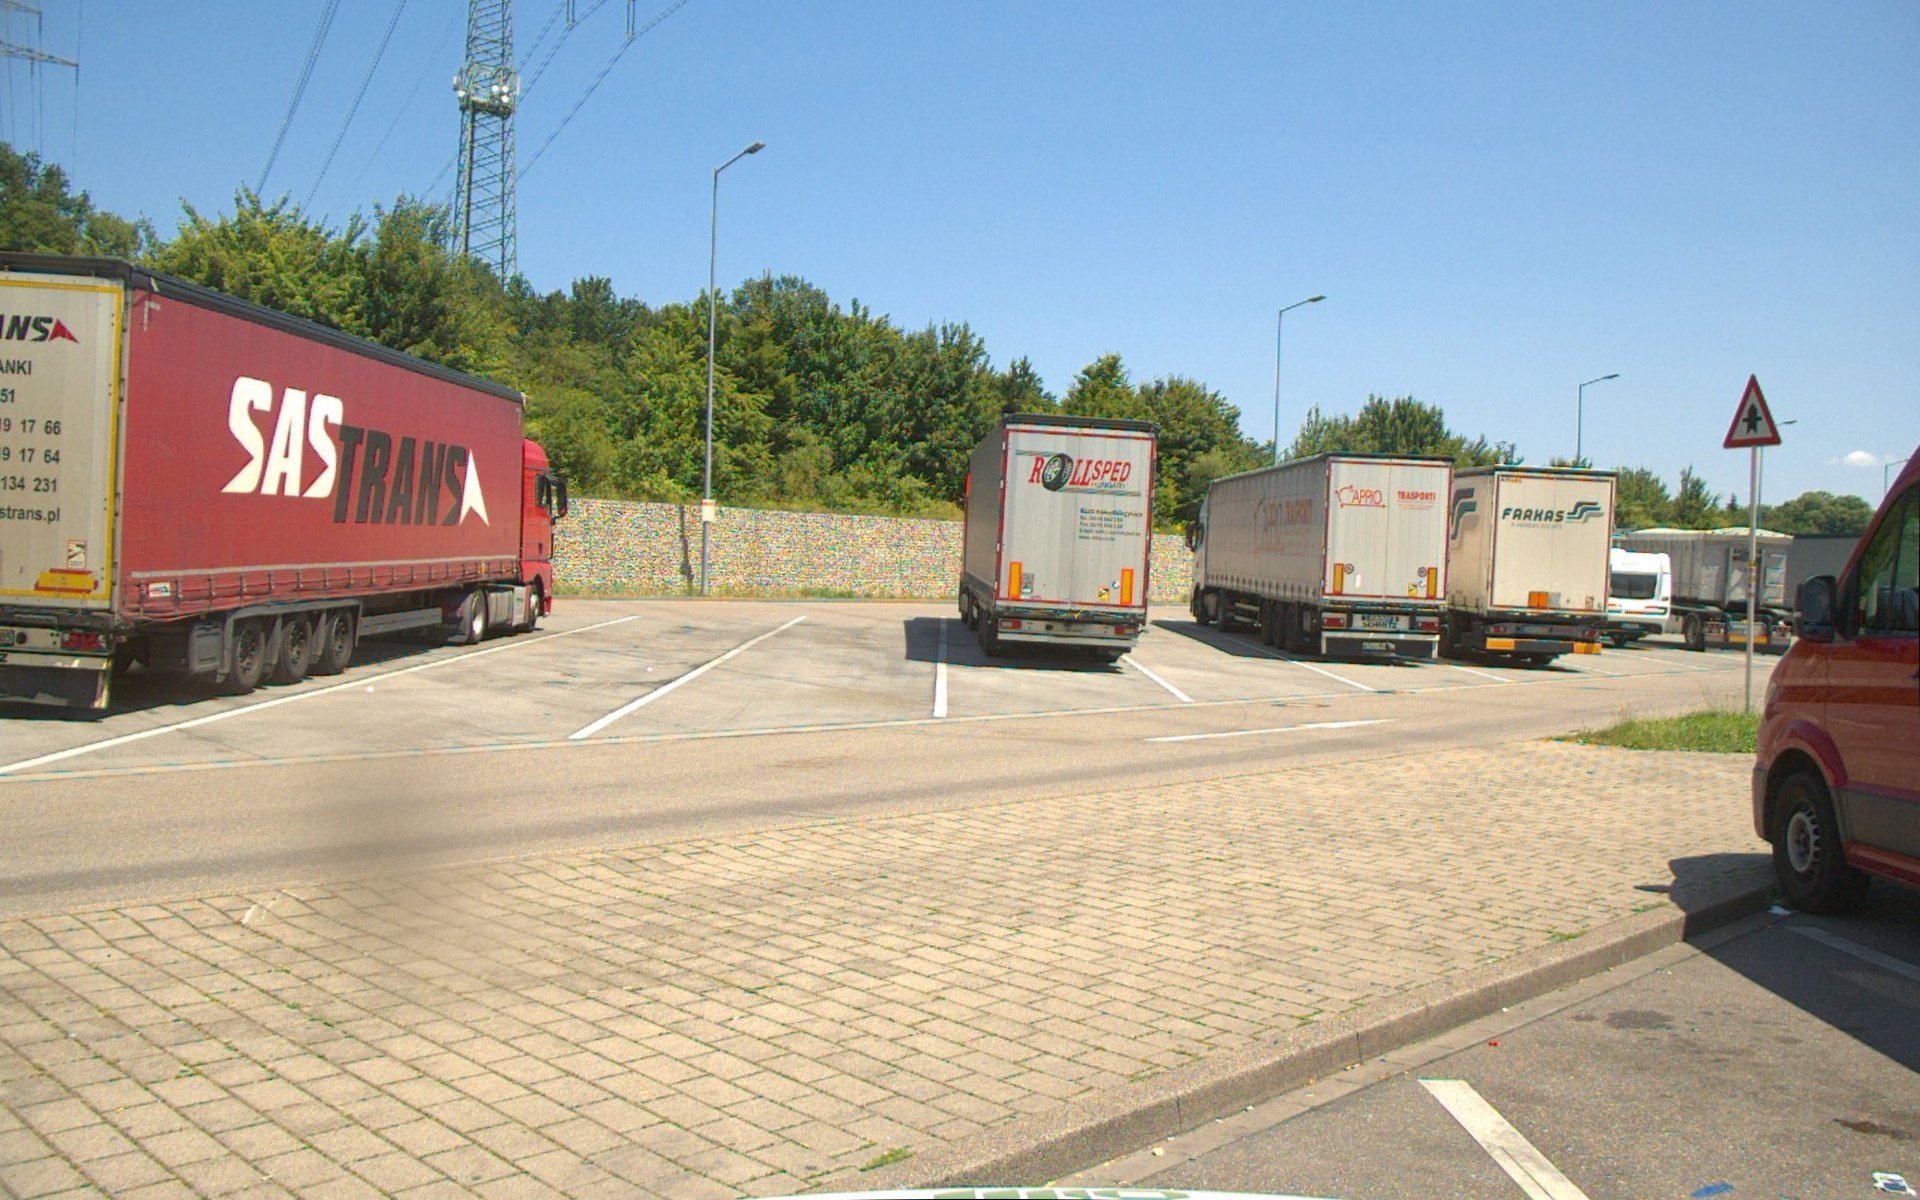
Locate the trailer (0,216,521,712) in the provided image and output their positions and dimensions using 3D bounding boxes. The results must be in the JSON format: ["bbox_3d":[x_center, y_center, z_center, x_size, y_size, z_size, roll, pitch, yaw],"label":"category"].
[{"bbox_3d":[-8.626,-1.314,20.982,2.743,4.293,13.200,1,1,-1],"label":"trailer"}]

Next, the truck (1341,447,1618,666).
[{"bbox_3d":[11.725,-0.842,38.917,2.534,4.299,11.967,1,0,-1],"label":"truck"}]

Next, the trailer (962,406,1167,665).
[{"bbox_3d":[1.673,-1.128,31.985,2.839,4.083,11.313,1,1,-2],"label":"trailer"}]

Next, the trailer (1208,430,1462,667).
[{"bbox_3d":[8.185,-1.104,38.300,2.627,4.530,12.826,1,1,-1],"label":"trailer"}]

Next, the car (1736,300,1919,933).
[{"bbox_3d":[4.968,0.102,5.561,1.952,2.679,6.385,1,1,3],"label":"car"}]

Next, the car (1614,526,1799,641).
[{"bbox_3d":[21.708,-0.509,48.498,2.449,3.128,6.350,1,1,-1],"label":"car"}]

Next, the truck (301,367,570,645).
[{"bbox_3d":[-8.714,-1.492,28.237,2.749,4.205,5.893,1,1,-1],"label":"truck"}]

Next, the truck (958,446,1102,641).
[{"bbox_3d":[1.466,-1.244,37.730,2.813,4.050,6.028,1,1,-2],"label":"truck"}]

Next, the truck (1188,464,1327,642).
[{"bbox_3d":[8.030,-1.255,45.346,2.607,4.530,5.863,1,1,-1],"label":"truck"}]

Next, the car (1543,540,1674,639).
[{"bbox_3d":[18.243,-0.280,46.739,2.072,2.645,3.999,1,0,-1],"label":"car"}]
